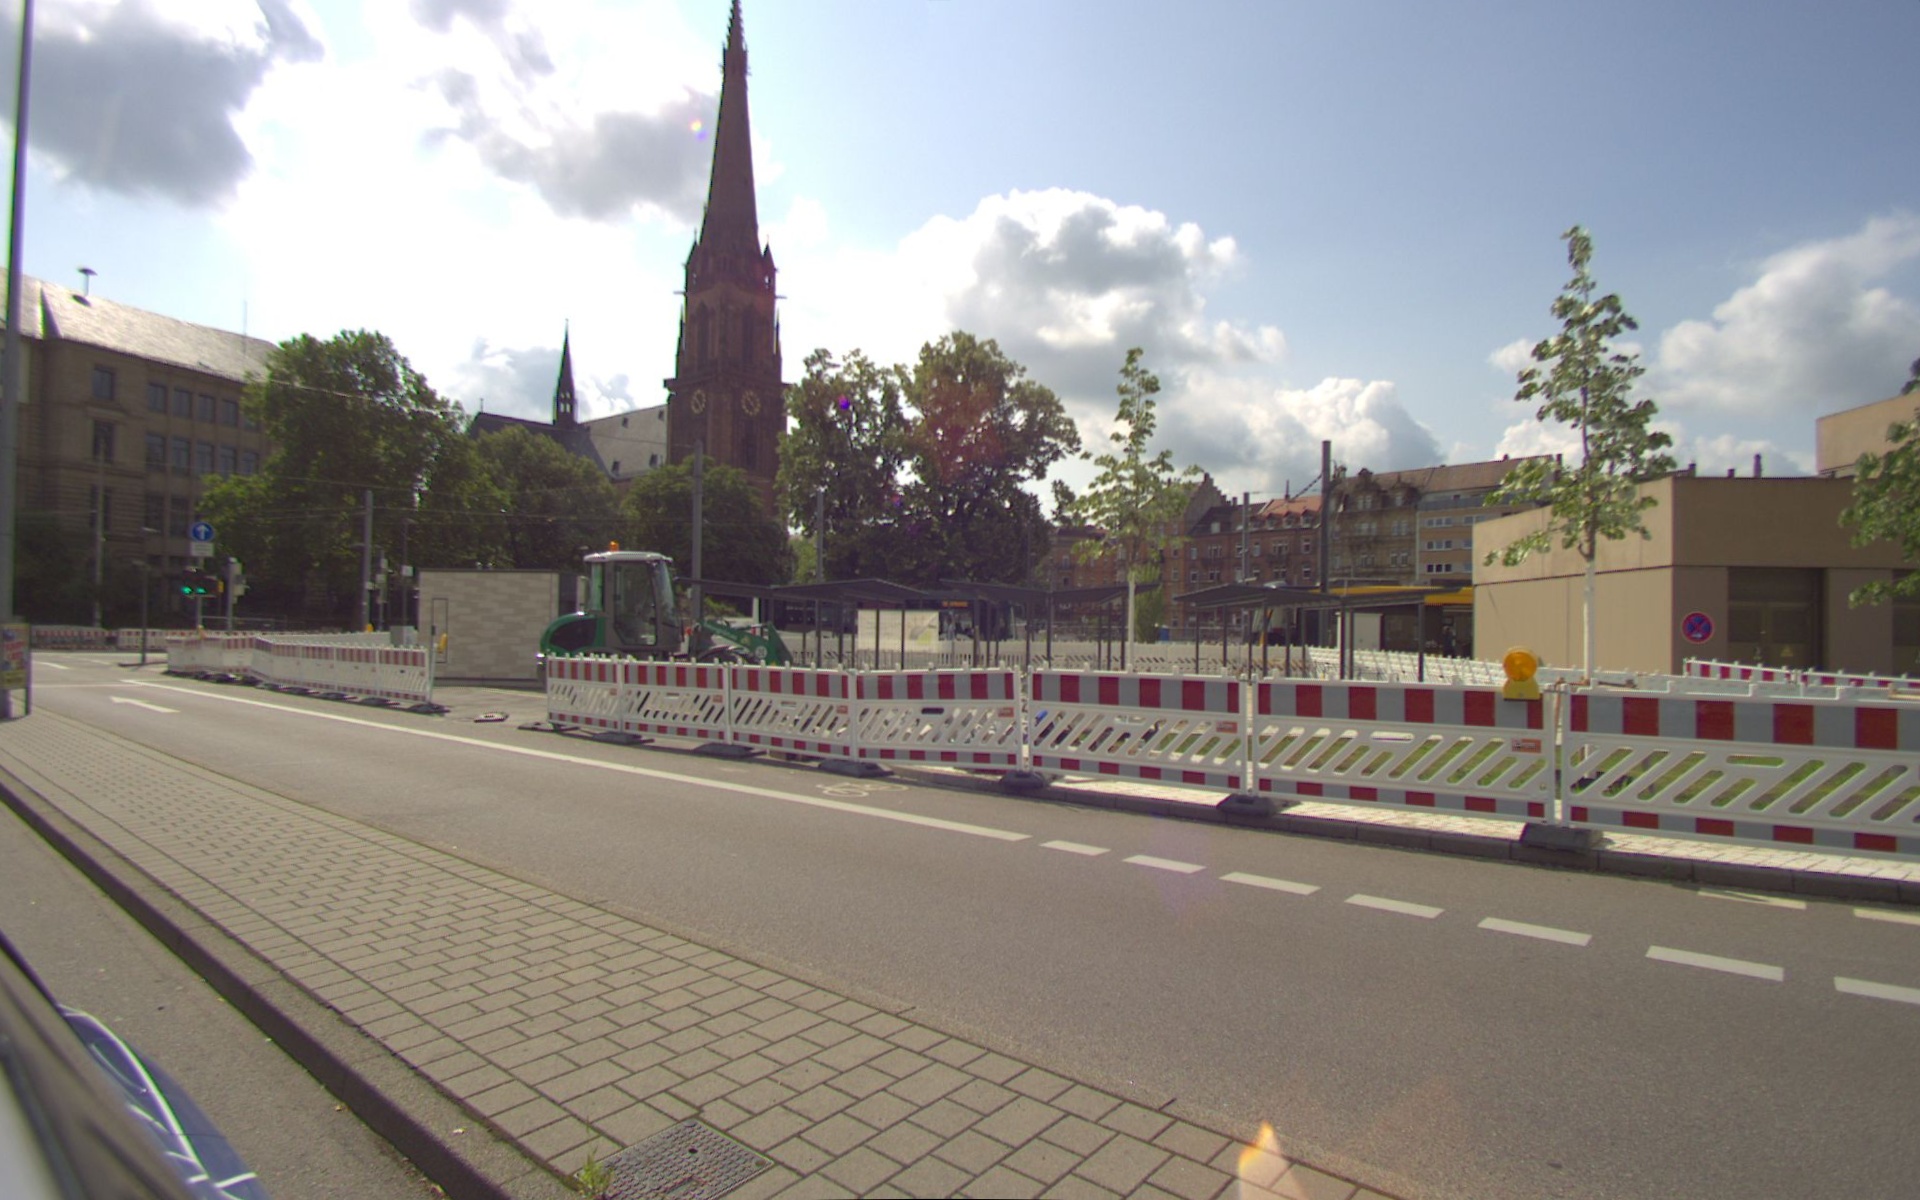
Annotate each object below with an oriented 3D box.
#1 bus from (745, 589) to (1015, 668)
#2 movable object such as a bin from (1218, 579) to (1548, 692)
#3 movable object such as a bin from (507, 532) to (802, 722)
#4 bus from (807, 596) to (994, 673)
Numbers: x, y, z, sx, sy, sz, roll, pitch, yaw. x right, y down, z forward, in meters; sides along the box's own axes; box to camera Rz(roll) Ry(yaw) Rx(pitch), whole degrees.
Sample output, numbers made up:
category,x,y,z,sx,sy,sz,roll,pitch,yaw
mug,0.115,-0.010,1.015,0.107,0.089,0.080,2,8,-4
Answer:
category,x,y,z,sx,sy,sz,roll,pitch,yaw
bus,-3.529,1.270,46.063,11.926,3.287,2.988,1,-2,6
movable object such as a bin,13.670,1.120,33.538,9.572,3.450,3.014,0,-2,8
movable object such as a bin,-5.021,0.472,17.166,4.385,2.972,2.001,1,-2,-3
bus,-2.450,1.438,43.017,7.667,3.081,2.369,1,-2,6
